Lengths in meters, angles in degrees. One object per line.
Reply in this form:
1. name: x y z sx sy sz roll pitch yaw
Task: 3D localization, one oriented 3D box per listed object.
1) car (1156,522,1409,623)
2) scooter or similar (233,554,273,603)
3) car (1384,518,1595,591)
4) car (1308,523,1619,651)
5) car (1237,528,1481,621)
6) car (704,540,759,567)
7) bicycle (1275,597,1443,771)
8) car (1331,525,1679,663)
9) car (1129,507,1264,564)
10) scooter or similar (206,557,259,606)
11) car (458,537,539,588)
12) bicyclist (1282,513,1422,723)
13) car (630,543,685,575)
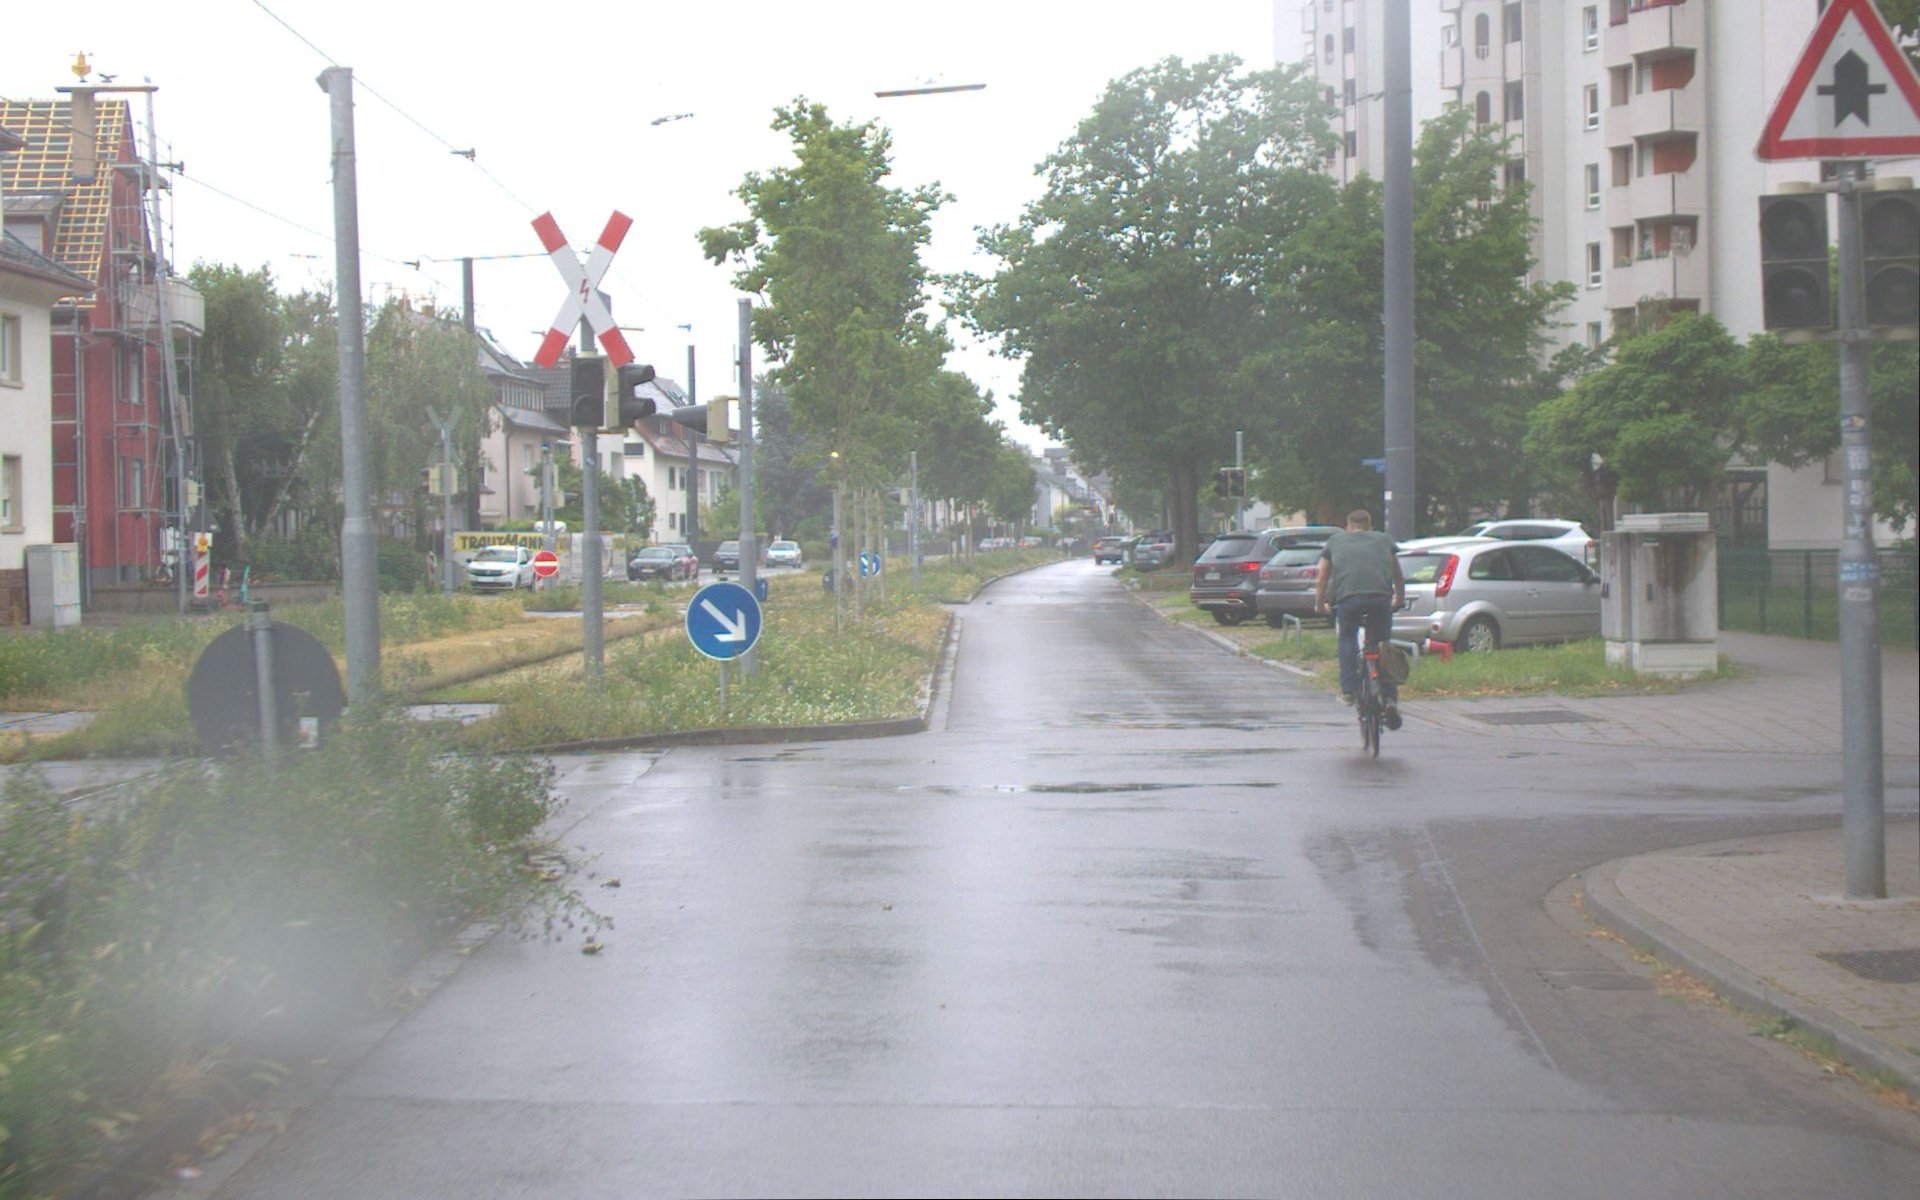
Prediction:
1. car: 5.670 -0.499 60.111 4.337 1.645 1.857 -2 2 -40
2. scooter or similar: -17.377 -0.537 84.530 0.394 1.176 1.282 -1 1 16
3. car: 13.224 -1.153 85.988 4.801 1.739 2.001 -1 1 -13
4. car: 6.643 -0.177 45.171 3.988 1.503 1.705 -2 -1 -38
5. car: 6.643 -0.441 57.091 3.988 1.424 1.734 -2 2 -40
6. car: -11.002 -2.246 165.565 1.897 1.240 4.686 1 1 5
7. bicycle: 2.771 0.558 24.145 0.809 1.093 2.517 -1 1 -1
8. car: 6.642 -0.080 41.793 3.988 1.503 1.784 -2 -1 -35
9. car: 8.174 -2.225 118.727 4.135 1.713 2.000 -4 2 -29
10. scooter or similar: -17.230 -0.434 81.424 0.441 1.125 1.280 0 1 32
11. car: -14.749 -1.210 110.074 1.710 1.537 4.422 2 1 3
12. bicyclist: 2.757 0.112 24.259 0.809 1.428 1.060 -1 1 -1
13. car: -12.257 -1.680 139.692 1.663 1.240 4.071 1 1 3
